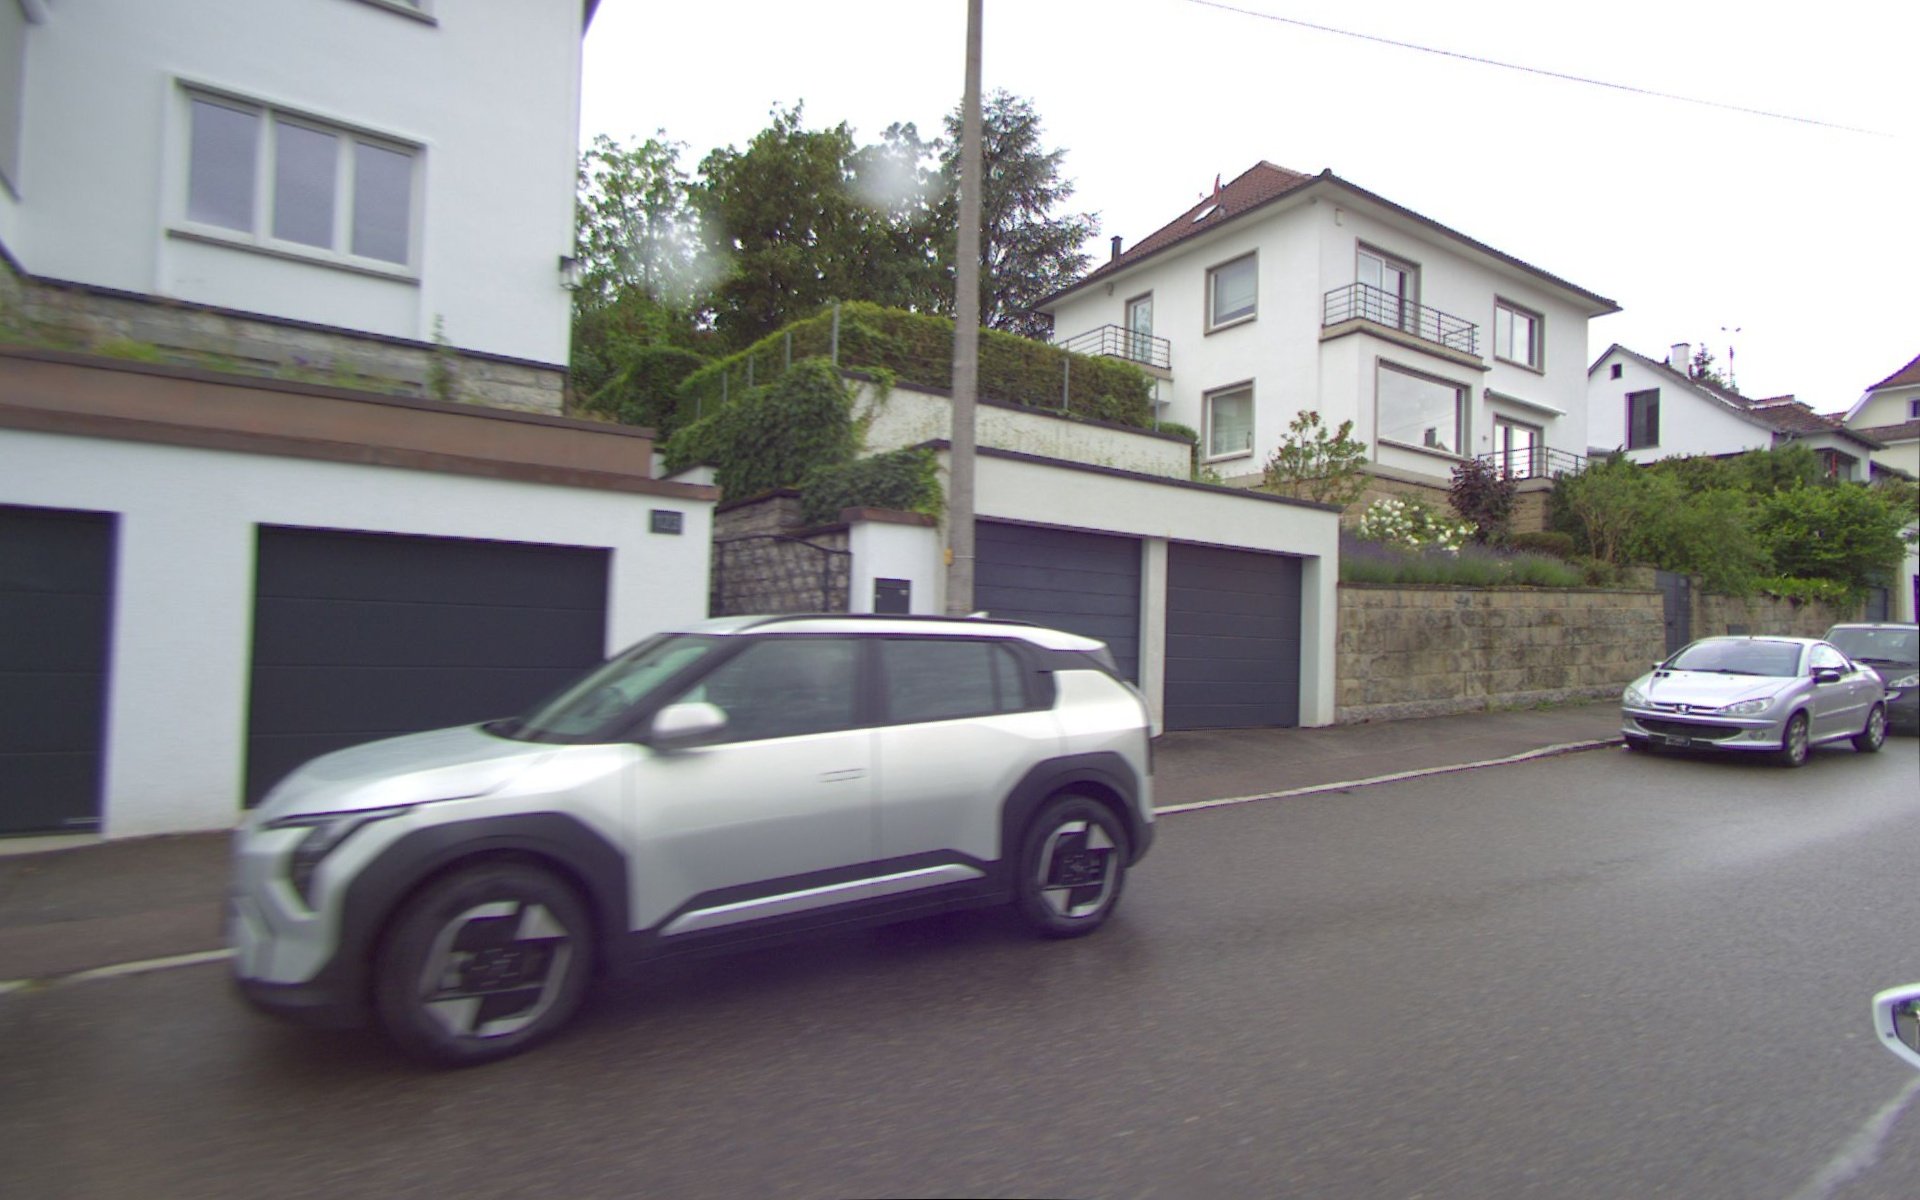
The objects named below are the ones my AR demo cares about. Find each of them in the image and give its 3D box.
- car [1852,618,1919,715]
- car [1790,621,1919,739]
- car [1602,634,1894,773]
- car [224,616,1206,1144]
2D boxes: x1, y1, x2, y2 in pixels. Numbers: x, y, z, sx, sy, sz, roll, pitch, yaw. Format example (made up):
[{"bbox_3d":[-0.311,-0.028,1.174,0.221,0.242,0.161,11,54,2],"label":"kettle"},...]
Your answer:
[{"bbox_3d":[17.308,1.099,17.244,4.294,1.535,1.887,0,0,-33],"label":"car"},{"bbox_3d":[13.615,1.084,14.762,3.129,1.544,1.486,0,-1,-37],"label":"car"},{"bbox_3d":[9.507,1.122,12.061,3.798,1.355,1.601,0,-1,-32],"label":"car"},{"bbox_3d":[-0.962,0.894,4.985,4.192,1.588,1.888,1,-2,-33],"label":"car"}]
